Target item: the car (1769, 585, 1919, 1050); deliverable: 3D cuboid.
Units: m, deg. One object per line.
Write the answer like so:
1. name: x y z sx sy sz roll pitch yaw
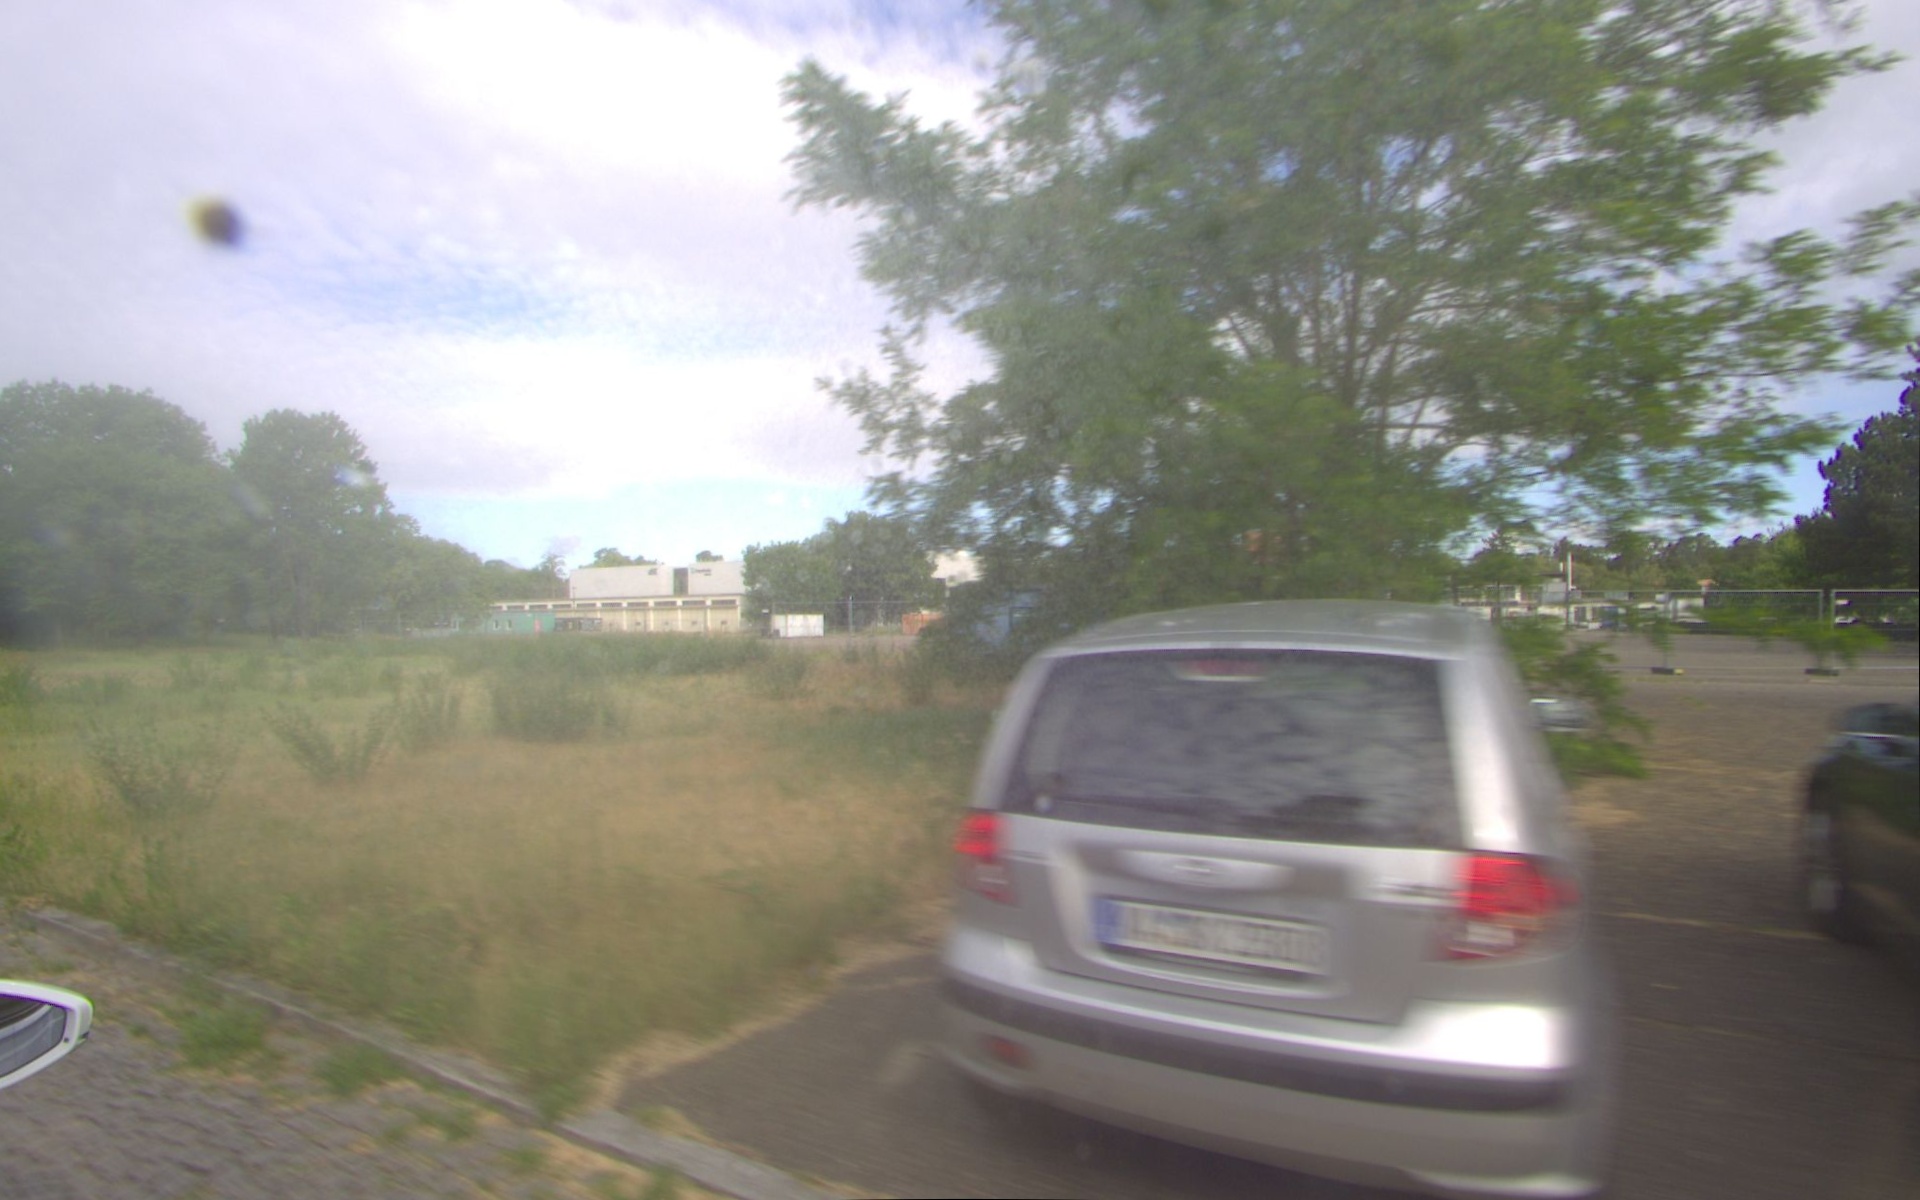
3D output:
1. car: 3.772 0.717 2.650 1.769 1.425 4.359 0 2 29

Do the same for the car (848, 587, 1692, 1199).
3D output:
1. car: 1.356 0.747 3.793 1.715 1.500 3.767 0 2 28
